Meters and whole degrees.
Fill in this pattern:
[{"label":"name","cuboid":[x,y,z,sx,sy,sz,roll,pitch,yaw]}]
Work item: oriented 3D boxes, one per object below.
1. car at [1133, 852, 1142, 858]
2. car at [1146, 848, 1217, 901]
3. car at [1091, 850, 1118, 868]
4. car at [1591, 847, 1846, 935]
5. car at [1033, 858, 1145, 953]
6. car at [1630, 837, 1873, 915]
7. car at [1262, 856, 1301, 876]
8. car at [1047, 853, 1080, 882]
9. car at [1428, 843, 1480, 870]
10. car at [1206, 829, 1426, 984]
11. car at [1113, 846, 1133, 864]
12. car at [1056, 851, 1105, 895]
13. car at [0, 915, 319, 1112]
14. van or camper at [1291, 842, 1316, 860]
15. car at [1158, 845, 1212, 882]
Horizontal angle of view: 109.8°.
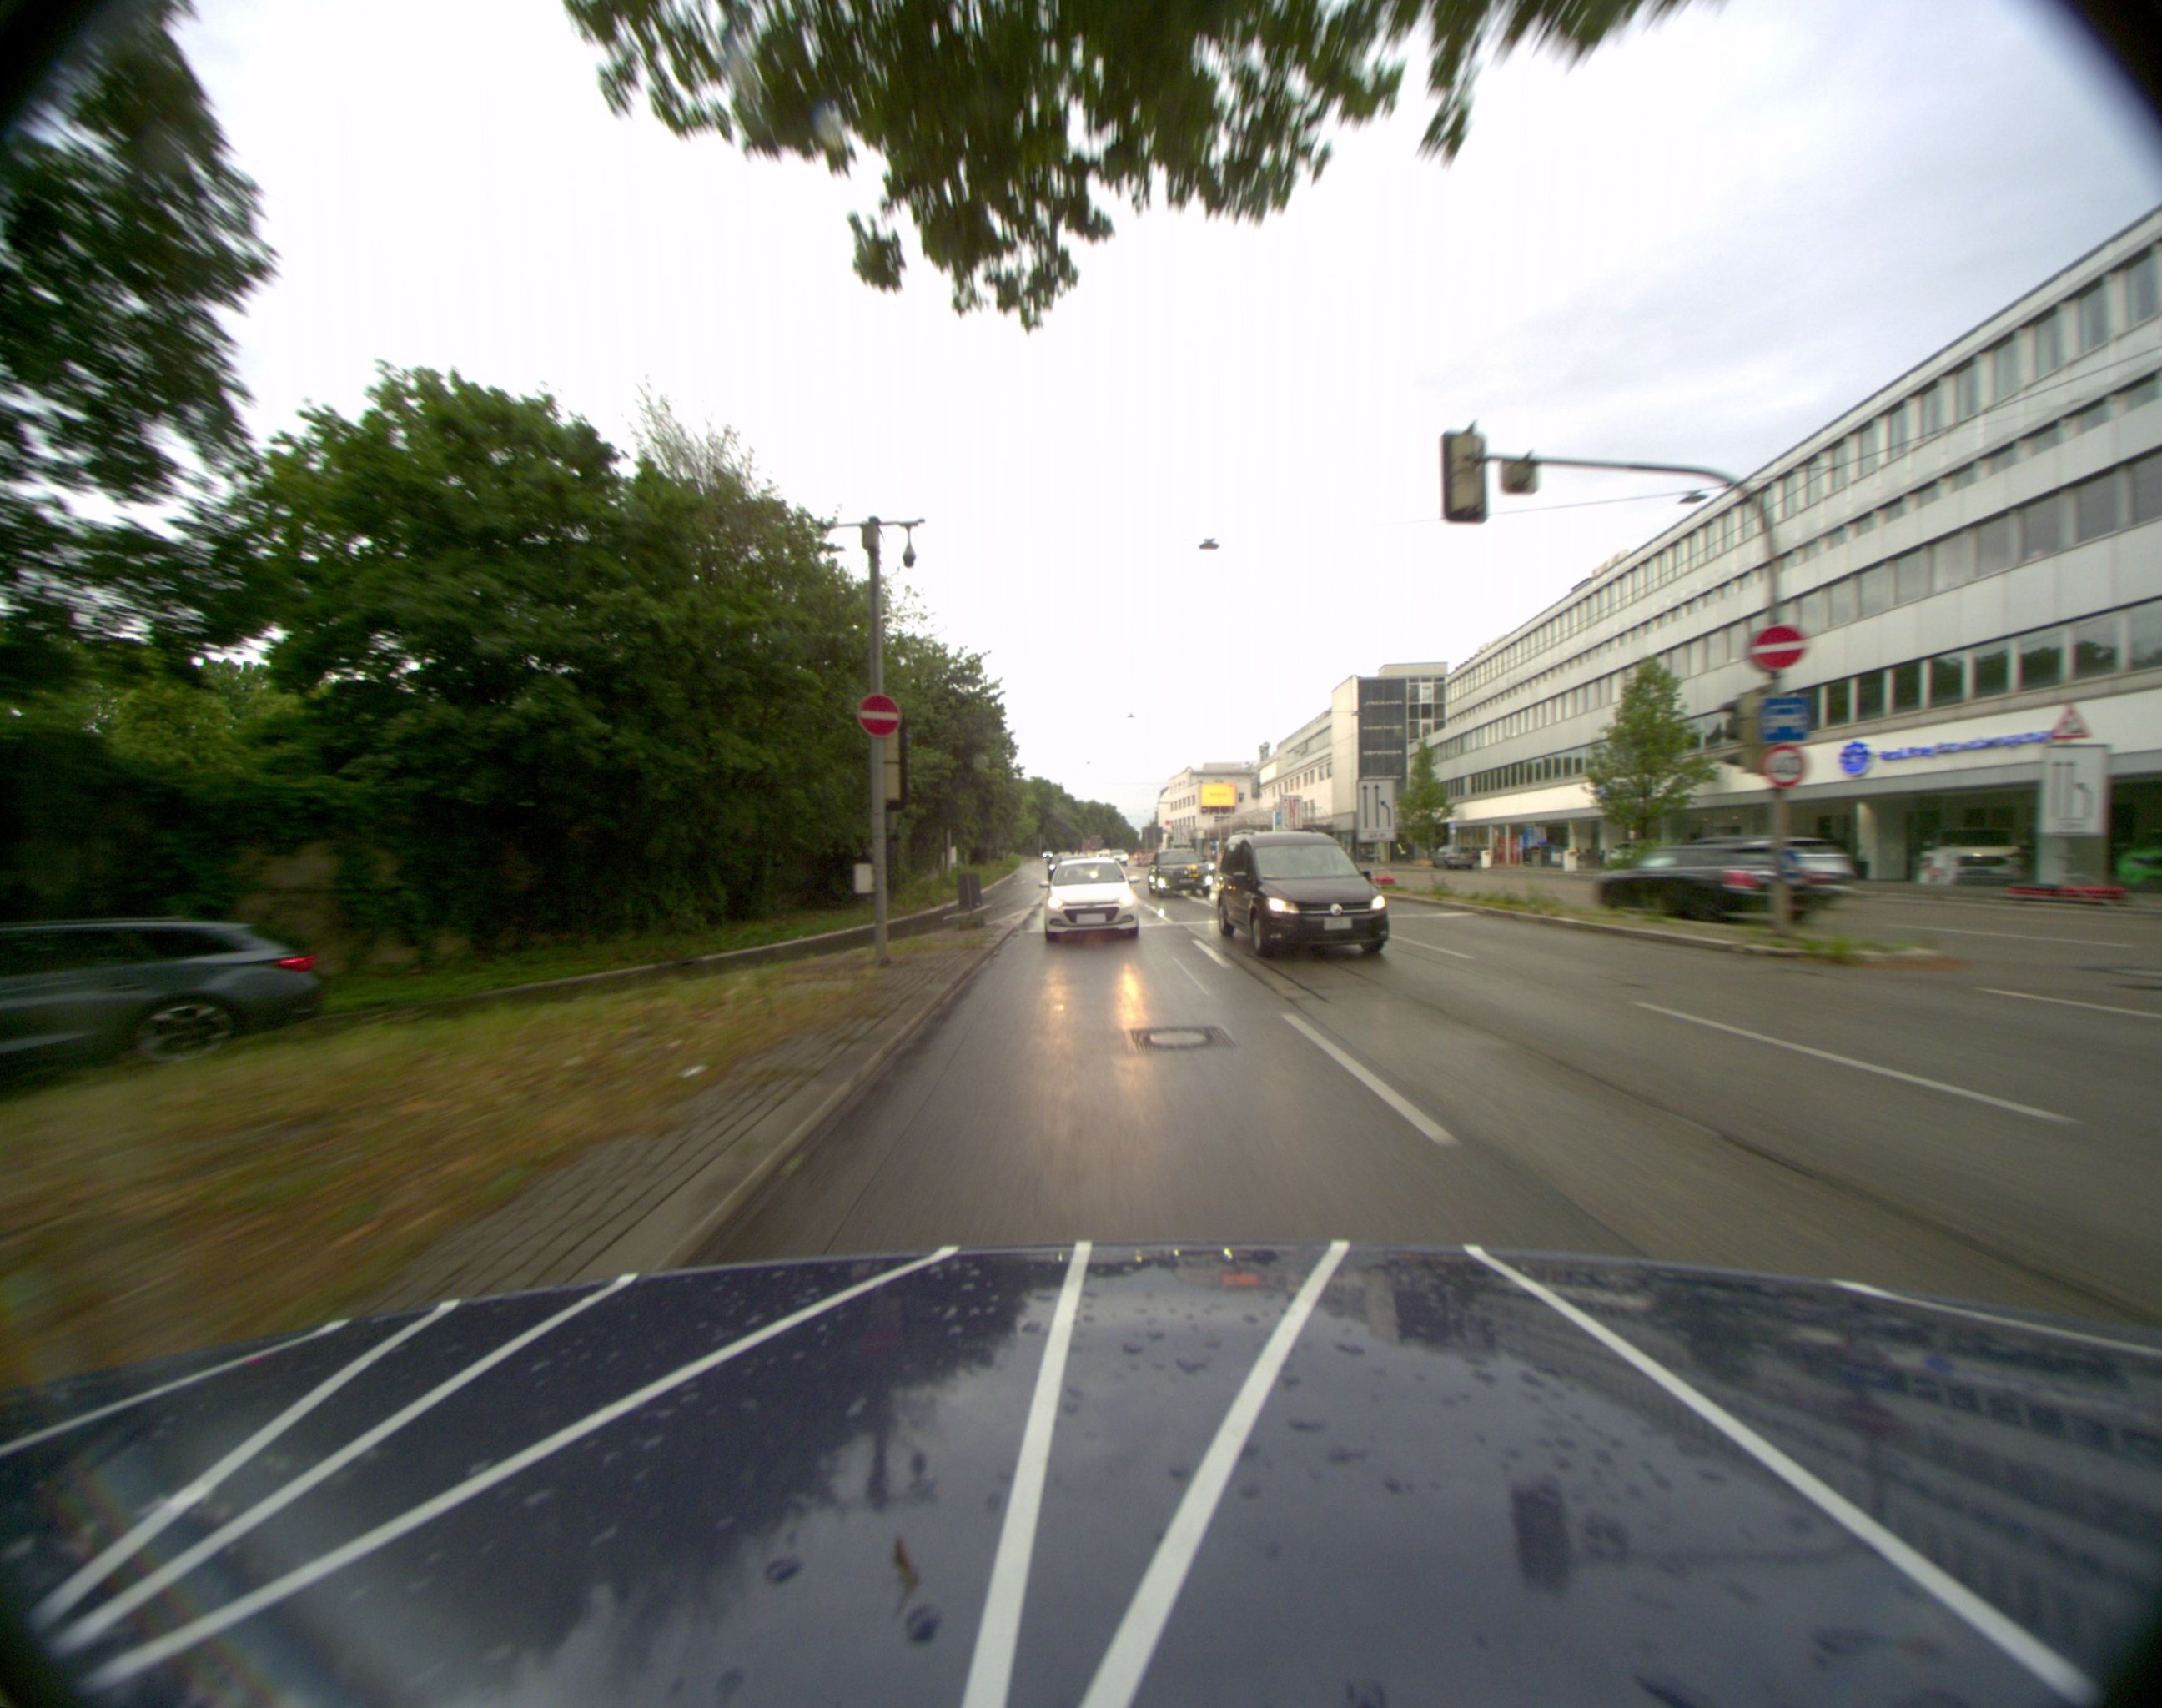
[{"label":"car","cuboid":[13.549,0.211,183.205,1.805,1.523,3.764,0,0,0]},{"label":"car","cuboid":[3.407,0.643,26.532,1.814,1.590,4.333,-4,1,0]},{"label":"car","cuboid":[2.149,0.430,68.183,1.770,1.407,4.335,-4,1,9]},{"label":"car","cuboid":[11.875,0.595,14.549,1.687,1.428,3.862,-1,1,1]},{"label":"car","cuboid":[0.145,0.877,15.060,1.814,1.444,4.333,-4,1,0]},{"label":"car","cuboid":[15.743,0.441,18.239,1.894,1.600,4.456,-1,1,0]},{"label":"car","cuboid":[14.801,0.853,56.270,1.690,1.411,4.214,0,1,0]},{"label":"car","cuboid":[-1.045,0.787,47.485,1.814,1.590,4.333,-4,1,0]},{"label":"car","cuboid":[27.443,0.169,56.061,1.922,1.805,4.166,-4,1,4]},{"label":"car","cuboid":[3.289,0.635,11.655,1.905,1.804,4.430,-4,1,0]},{"label":"car","cuboid":[4.177,0.098,76.028,1.771,1.628,4.333,-4,1,1]},{"label":"car","cuboid":[-0.024,0.718,31.628,1.814,1.590,4.333,-4,1,0]},{"label":"car","cuboid":[-9.639,1.449,6.216,1.750,1.395,4.421,-5,0,29]},{"label":"van or camper","cuboid":[25.883,-0.371,88.502,1.928,1.918,4.256,-4,1,5]},{"label":"car","cuboid":[5.064,0.434,37.569,1.814,1.590,4.332,-4,1,-3]}]
